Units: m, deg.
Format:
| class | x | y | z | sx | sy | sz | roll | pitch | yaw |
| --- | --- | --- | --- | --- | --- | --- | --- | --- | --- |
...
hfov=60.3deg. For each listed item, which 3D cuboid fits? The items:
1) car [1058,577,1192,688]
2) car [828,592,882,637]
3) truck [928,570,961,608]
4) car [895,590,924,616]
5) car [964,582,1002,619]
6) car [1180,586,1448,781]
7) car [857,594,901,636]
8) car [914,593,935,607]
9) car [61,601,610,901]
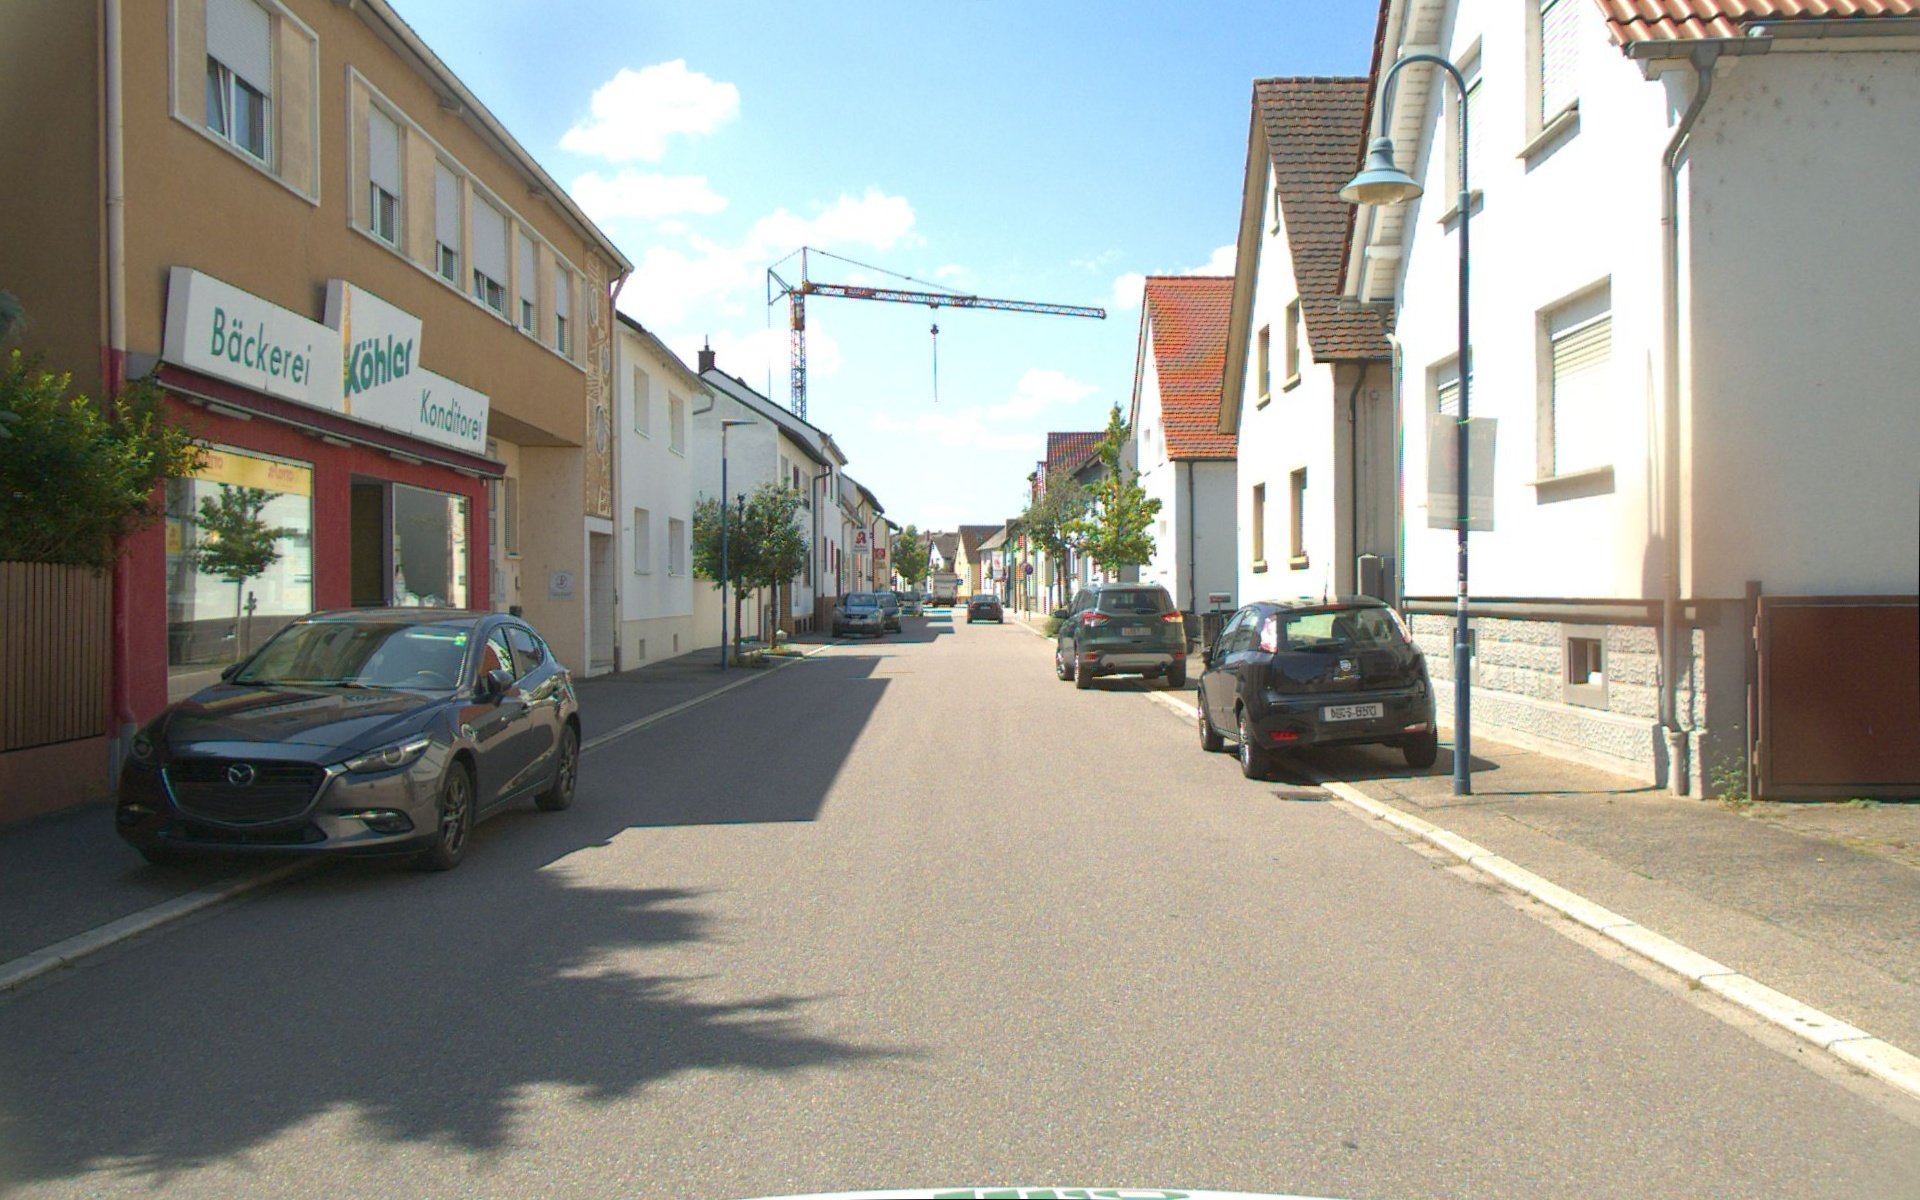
| class | x | y | z | sx | sy | sz | roll | pitch | yaw |
| --- | --- | --- | --- | --- | --- | --- | --- | --- | --- |
| car | 2.728 | 0.499 | 28.243 | 1.694 | 1.747 | 4.274 | 0 | 0 | -2 |
| car | -3.774 | 0.486 | 60.151 | 1.722 | 1.551 | 4.288 | -1 | 0 | -1 |
| truck | -1.775 | -1.154 | 180.957 | 3.311 | 3.933 | 13.921 | -1 | 0 | -2 |
| car | -3.197 | 0.190 | 106.163 | 1.688 | 1.583 | 4.172 | 1 | 0 | 0 |
| car | 1.157 | 0.033 | 83.694 | 1.746 | 1.784 | 3.999 | -1 | 0 | -1 |
| car | 3.186 | 0.678 | 15.636 | 1.584 | 1.522 | 3.971 | -3 | 0 | 0 |
| car | -3.228 | 0.574 | 66.652 | 1.619 | 1.637 | 4.060 | -1 | 0 | -1 |
| car | -4.740 | -0.028 | 222.527 | 1.791 | 1.784 | 4.210 | -1 | 0 | -16 |
| car | -3.628 | 0.767 | 10.585 | 1.731 | 1.485 | 4.437 | 0 | 0 | 1 |
